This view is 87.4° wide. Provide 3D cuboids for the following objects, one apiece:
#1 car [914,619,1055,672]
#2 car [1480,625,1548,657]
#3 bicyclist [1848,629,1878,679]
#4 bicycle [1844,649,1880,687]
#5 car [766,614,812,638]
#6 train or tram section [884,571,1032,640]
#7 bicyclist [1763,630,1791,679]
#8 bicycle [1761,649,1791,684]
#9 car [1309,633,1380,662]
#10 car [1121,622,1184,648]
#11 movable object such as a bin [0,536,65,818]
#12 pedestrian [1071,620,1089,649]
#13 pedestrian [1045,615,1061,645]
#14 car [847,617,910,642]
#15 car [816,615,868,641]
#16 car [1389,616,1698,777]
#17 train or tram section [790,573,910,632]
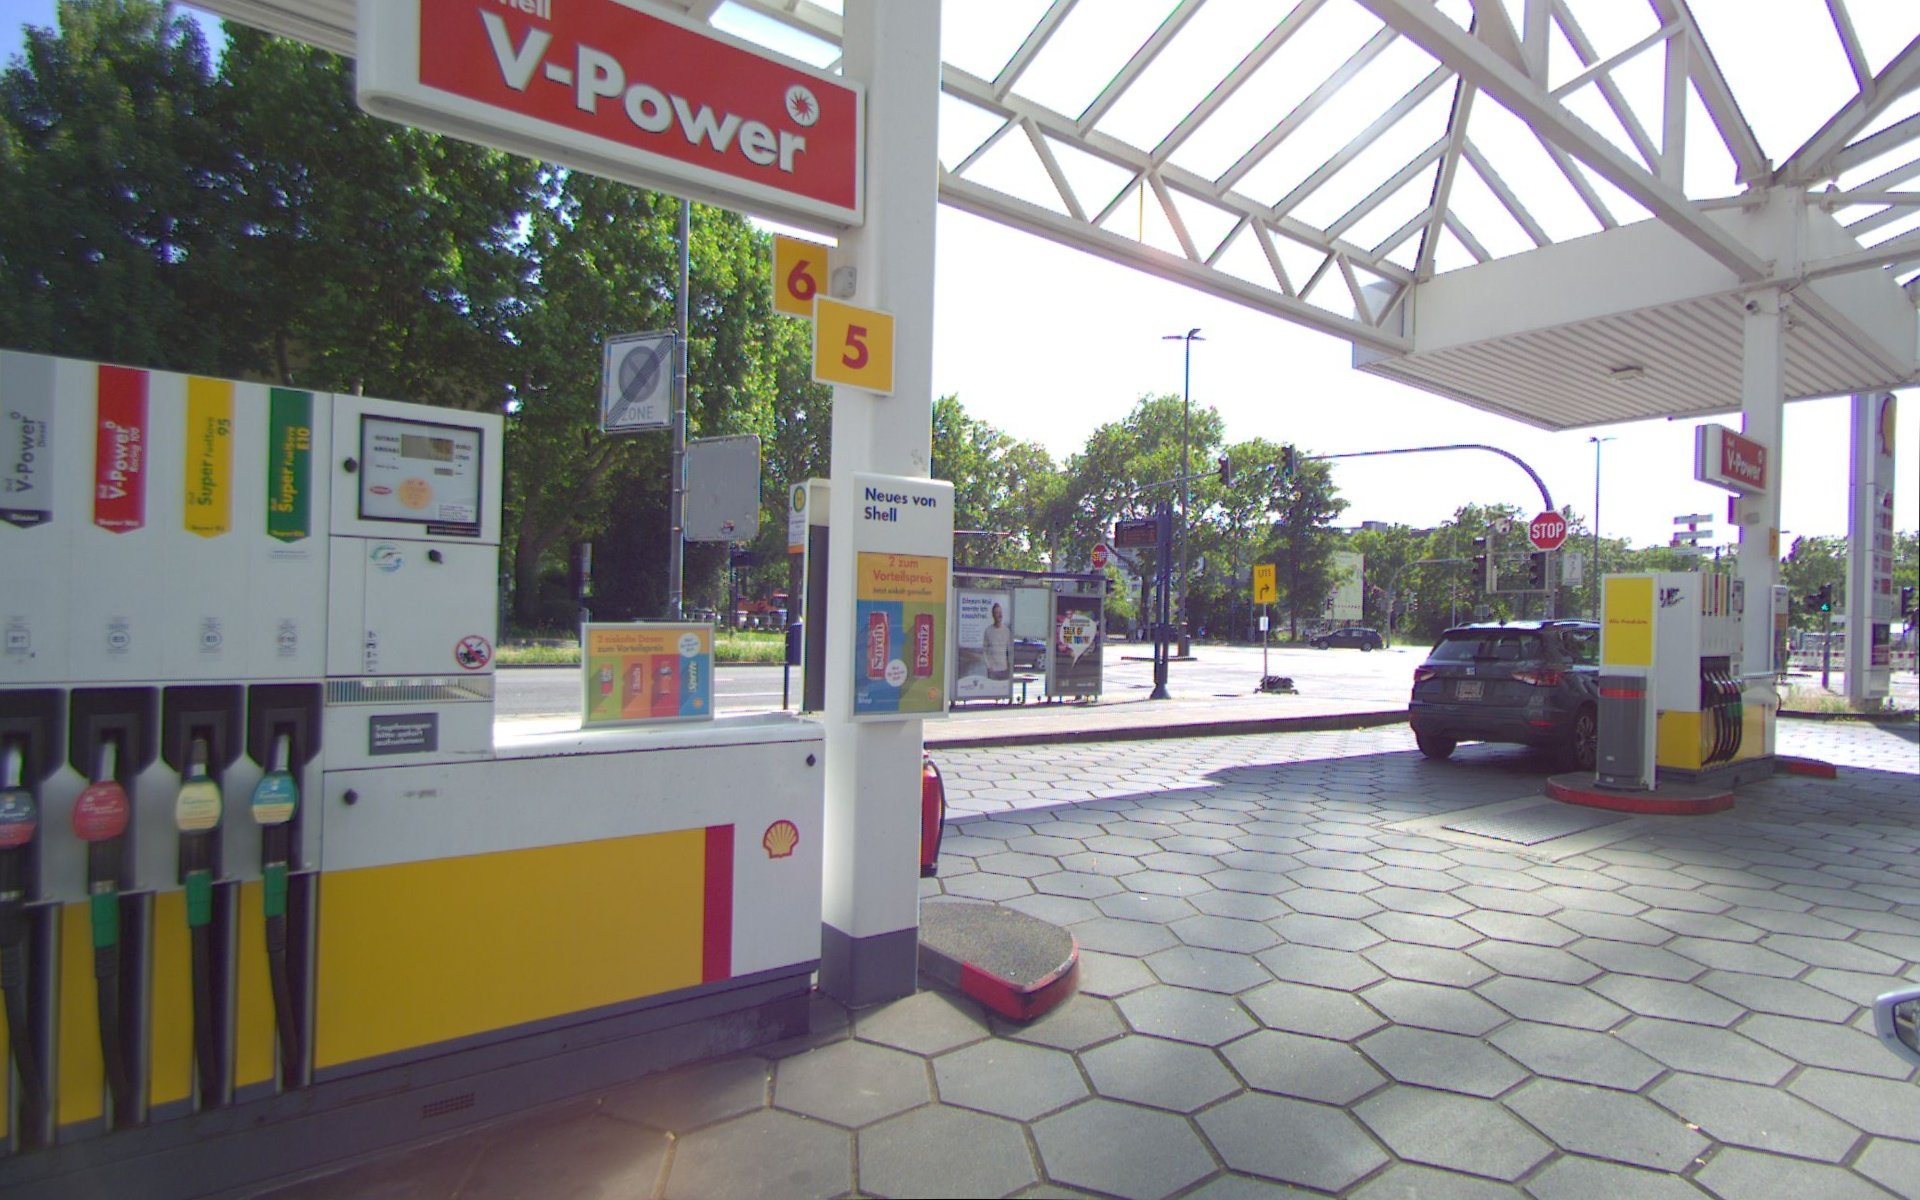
[{"bbox_3d":[0.752,1.333,29.529,3.966,1.385,1.667,2,1,-38],"label":"car"},{"bbox_3d":[37.702,2.800,68.321,4.390,2.040,1.987,2,-3,-27],"label":"car"},{"bbox_3d":[29.303,1.735,32.598,0.525,1.564,0.863,2,-1,32],"label":"bicyclist"},{"bbox_3d":[29.278,2.189,32.624,0.515,1.096,1.862,1,1,32],"label":"bicycle"},{"bbox_3d":[-12.684,1.948,74.358,1.851,1.711,3.961,2,-3,-35],"label":"car"},{"bbox_3d":[-0.550,0.356,73.161,2.307,4.549,14.786,2,-1,-37],"label":"train or tram section"},{"bbox_3d":[27.402,1.806,33.688,0.631,1.601,1.166,1,-1,43],"label":"bicyclist"},{"bbox_3d":[27.340,2.215,33.634,0.631,1.096,2.014,1,-1,43],"label":"bicycle"},{"bbox_3d":[24.860,3.059,65.098,4.127,1.829,2.001,0,-3,17],"label":"car"},{"bbox_3d":[14.284,2.621,74.498,4.142,1.829,1.994,-1,-3,36],"label":"car"},{"bbox_3d":[-6.663,0.470,6.332,1.324,1.710,1.330,2,-3,-36],"label":"movable object such as a bin"},{"bbox_3d":[7.211,2.084,60.363,0.677,1.745,0.866,-1,-3,42],"label":"pedestrian"},{"bbox_3d":[5.428,1.753,58.582,0.779,1.696,0.555,3,-3,-41],"label":"pedestrian"},{"bbox_3d":[-5.139,1.868,63.024,1.856,1.532,3.950,3,-3,-42],"label":"car"},{"bbox_3d":[-8.084,1.912,68.350,1.851,1.711,3.961,2,-3,-35],"label":"car"},{"bbox_3d":[6.809,1.019,11.575,3.964,1.552,1.731,3,-2,-38],"label":"car"},{"bbox_3d":[-9.699,0.209,85.441,2.307,4.549,15.757,2,-1,-37],"label":"train or tram section"}]
